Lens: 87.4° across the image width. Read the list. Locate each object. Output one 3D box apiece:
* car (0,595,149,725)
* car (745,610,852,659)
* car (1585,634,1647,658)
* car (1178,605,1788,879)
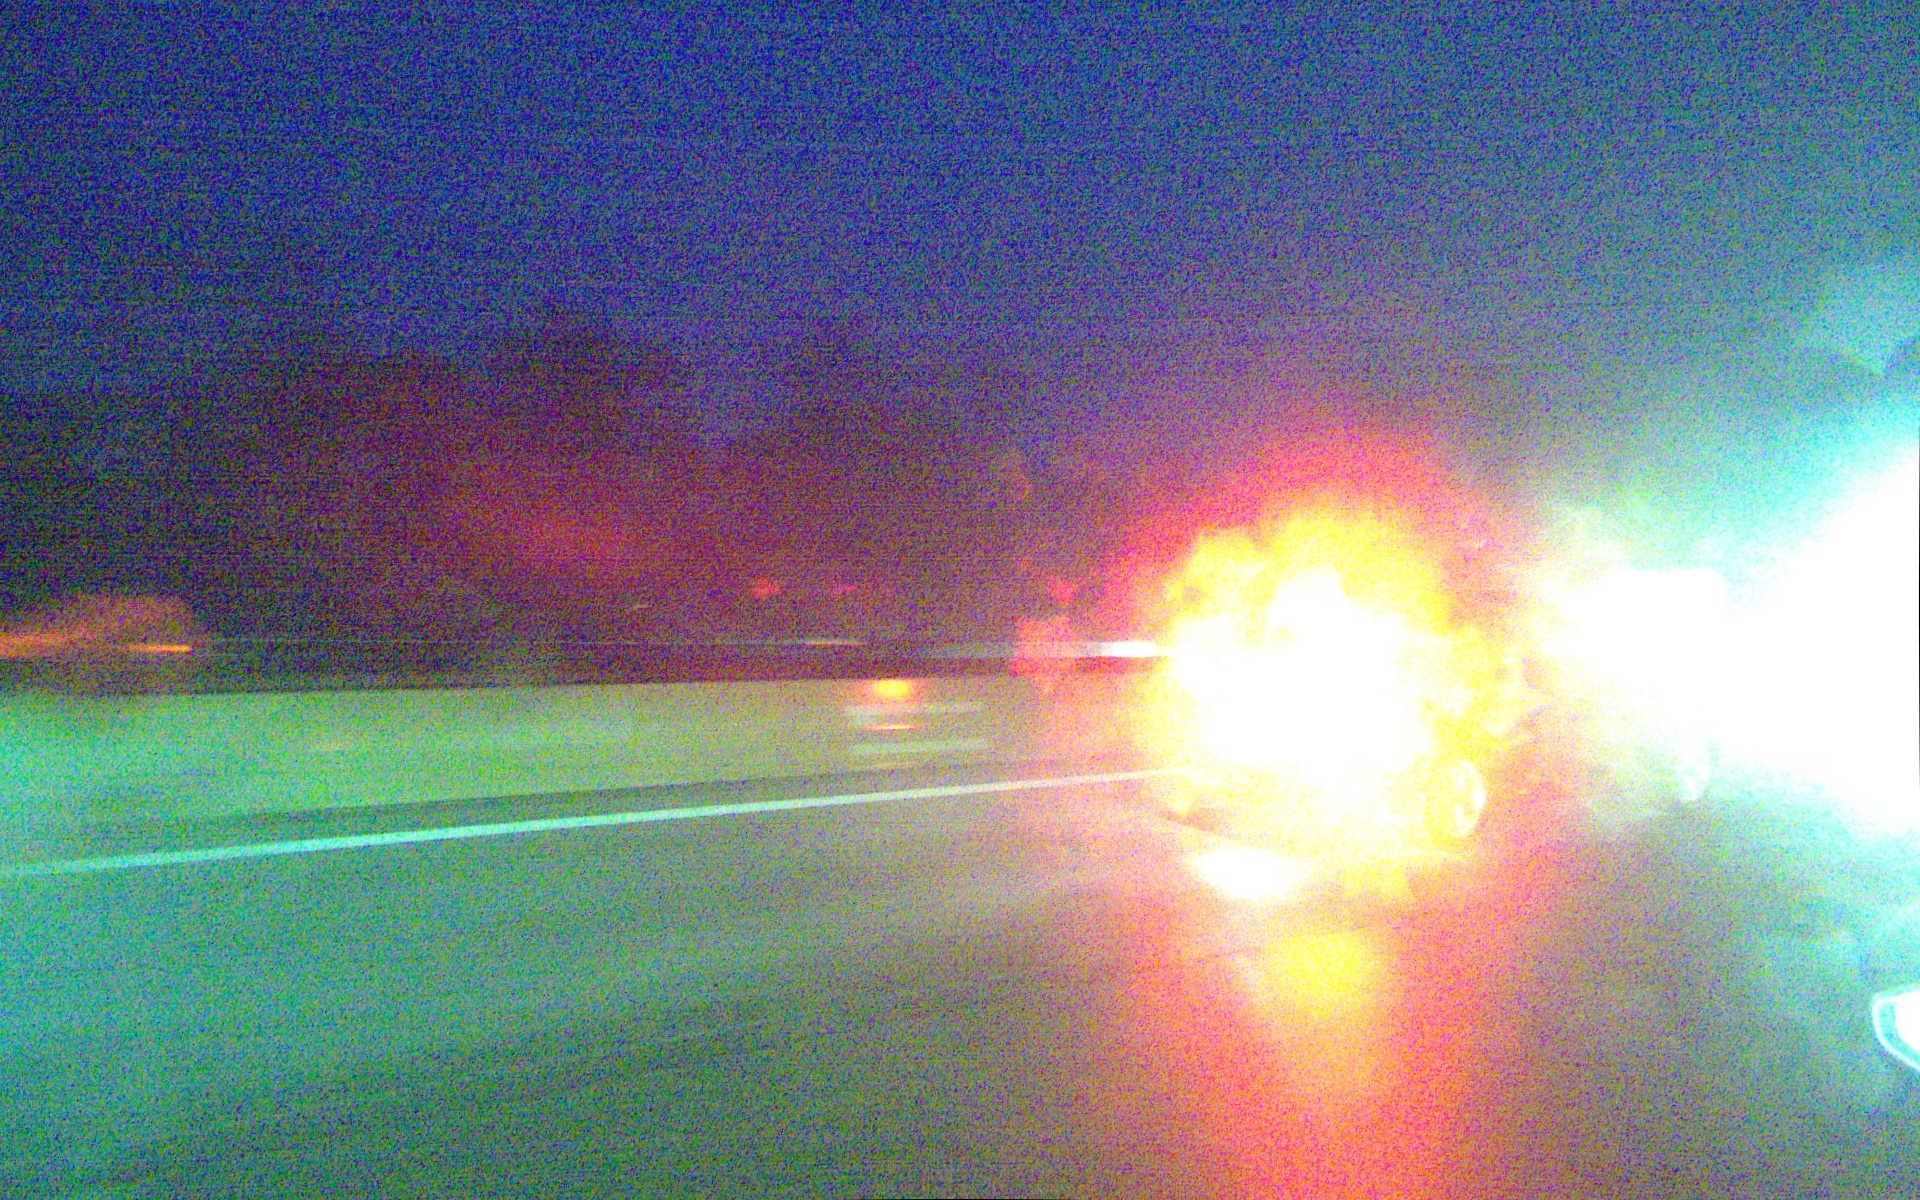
[{"bbox_3d":[-13.498,0.744,12.637,4.830,1.617,1.660,2,-4,-29],"label":"car"},{"bbox_3d":[-5.943,1.305,36.925,3.610,1.677,1.712,2,-3,-23],"label":"car"},{"bbox_3d":[36.504,2.566,55.864,3.190,1.301,1.491,2,-4,-27],"label":"car"},{"bbox_3d":[4.109,0.844,7.721,4.691,1.561,1.851,1,0,-28],"label":"car"}]
